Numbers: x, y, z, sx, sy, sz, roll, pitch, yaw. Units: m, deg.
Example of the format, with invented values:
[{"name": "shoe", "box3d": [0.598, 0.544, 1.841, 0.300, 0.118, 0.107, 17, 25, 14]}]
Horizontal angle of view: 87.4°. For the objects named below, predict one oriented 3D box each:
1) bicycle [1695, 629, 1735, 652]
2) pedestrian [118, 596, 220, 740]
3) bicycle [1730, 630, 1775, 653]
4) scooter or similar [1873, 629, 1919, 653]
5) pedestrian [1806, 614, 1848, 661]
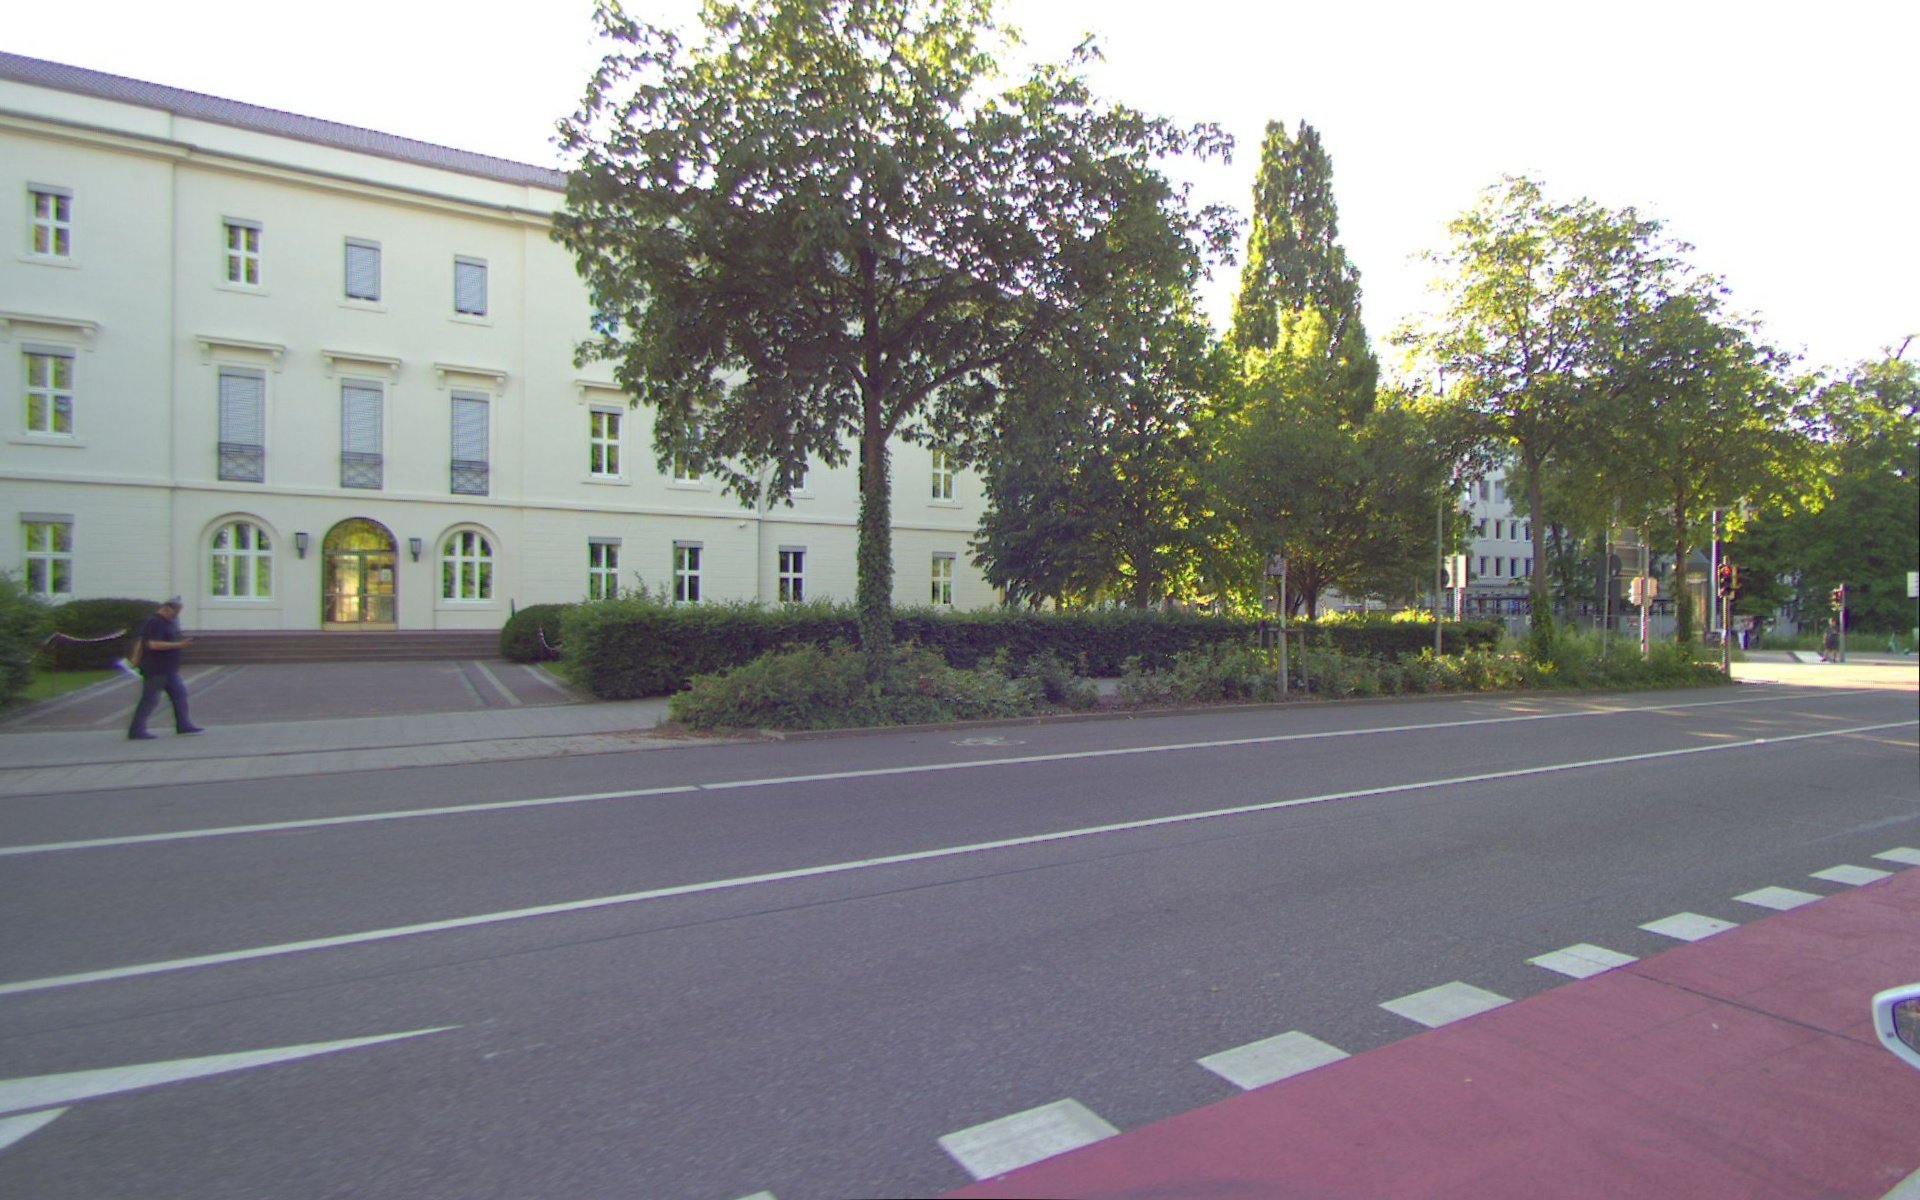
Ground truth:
[{"name": "bicycle", "box3d": [41.460, 2.222, 55.199, 0.436, 1.163, 1.861, 1, 0, -16]}, {"name": "pedestrian", "box3d": [-10.034, 0.839, 12.783, 0.958, 1.743, 0.829, 1, -1, -35]}, {"name": "bicycle", "box3d": [42.185, 2.214, 53.464, 0.287, 1.163, 1.849, 1, 0, -35]}, {"name": "scooter or similar", "box3d": [46.468, 2.033, 49.687, 1.882, 1.139, 0.713, 1, 0, 4]}, {"name": "pedestrian", "box3d": [39.014, 1.689, 45.188, 1.174, 2.040, 0.992, 1, 0, -24]}]
